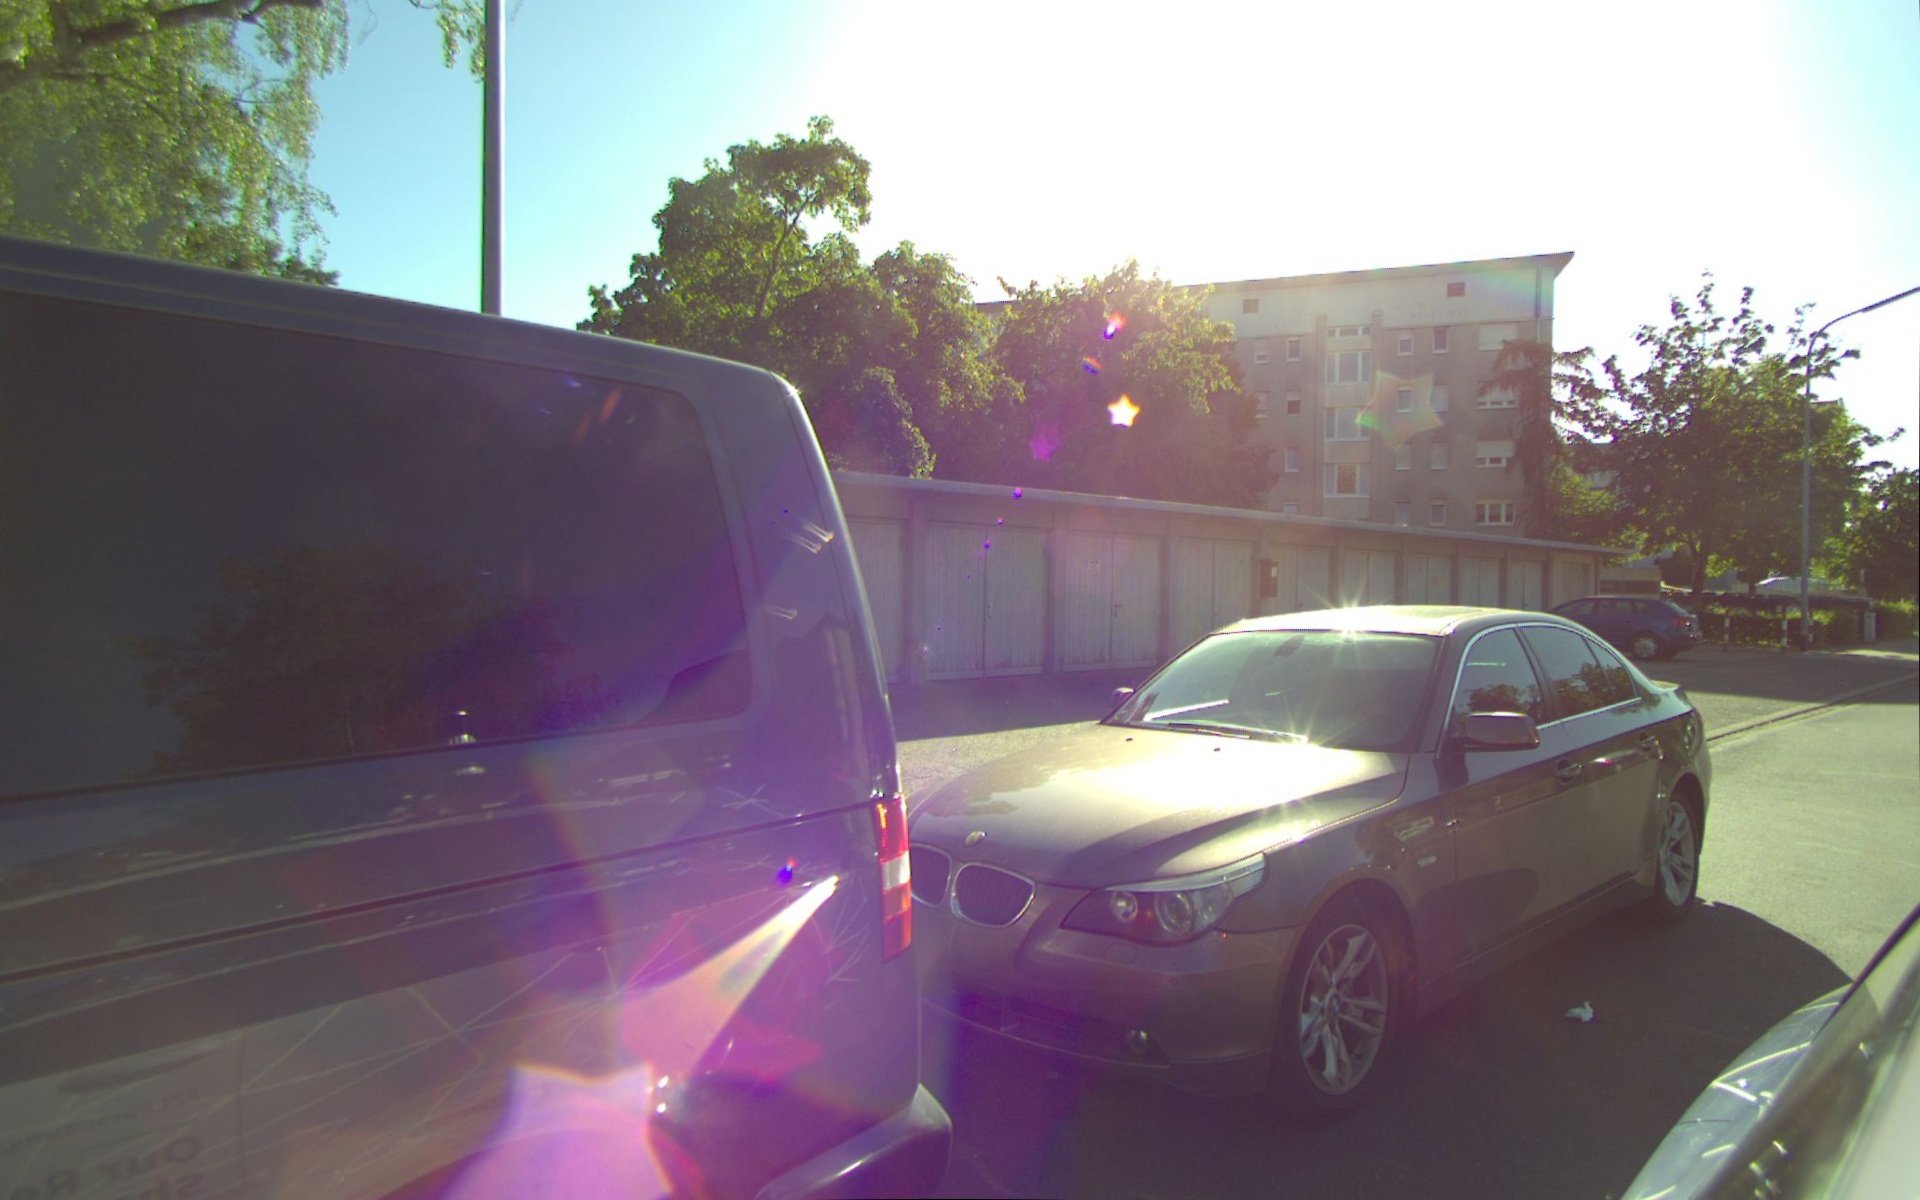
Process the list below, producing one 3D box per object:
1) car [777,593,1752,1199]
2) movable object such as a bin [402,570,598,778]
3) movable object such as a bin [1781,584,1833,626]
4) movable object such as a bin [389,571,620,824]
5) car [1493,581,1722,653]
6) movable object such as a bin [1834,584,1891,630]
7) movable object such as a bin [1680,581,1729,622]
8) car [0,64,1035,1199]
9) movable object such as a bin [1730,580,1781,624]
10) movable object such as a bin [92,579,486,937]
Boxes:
[{"bbox_3d":[1.661,0.695,4.436,4.551,1.436,1.805,0,0,-38],"label":"car"},{"bbox_3d":[-3.460,0.471,7.568,1.111,1.382,1.280,0,1,-36],"label":"movable object such as a bin"},{"bbox_3d":[29.725,0.153,35.511,1.013,1.449,1.325,0,1,-45],"label":"movable object such as a bin"},{"bbox_3d":[-2.883,0.516,6.362,1.112,1.382,1.228,0,1,-36],"label":"movable object such as a bin"},{"bbox_3d":[14.971,0.325,23.584,1.787,1.513,4.189,0,1,-41],"label":"car"},{"bbox_3d":[30.676,0.229,34.395,1.053,1.445,1.326,0,3,-45],"label":"movable object such as a bin"},{"bbox_3d":[27.620,0.050,37.552,1.013,1.499,1.322,0,0,-45],"label":"movable object such as a bin"},{"bbox_3d":[-2.219,0.476,1.067,4.621,1.959,1.856,0,0,-40],"label":"car"},{"bbox_3d":[28.727,0.072,36.546,1.013,1.556,1.325,0,0,-45],"label":"movable object such as a bin"},{"bbox_3d":[-2.976,0.604,4.663,1.359,1.325,1.031,0,4,-29],"label":"movable object such as a bin"}]
